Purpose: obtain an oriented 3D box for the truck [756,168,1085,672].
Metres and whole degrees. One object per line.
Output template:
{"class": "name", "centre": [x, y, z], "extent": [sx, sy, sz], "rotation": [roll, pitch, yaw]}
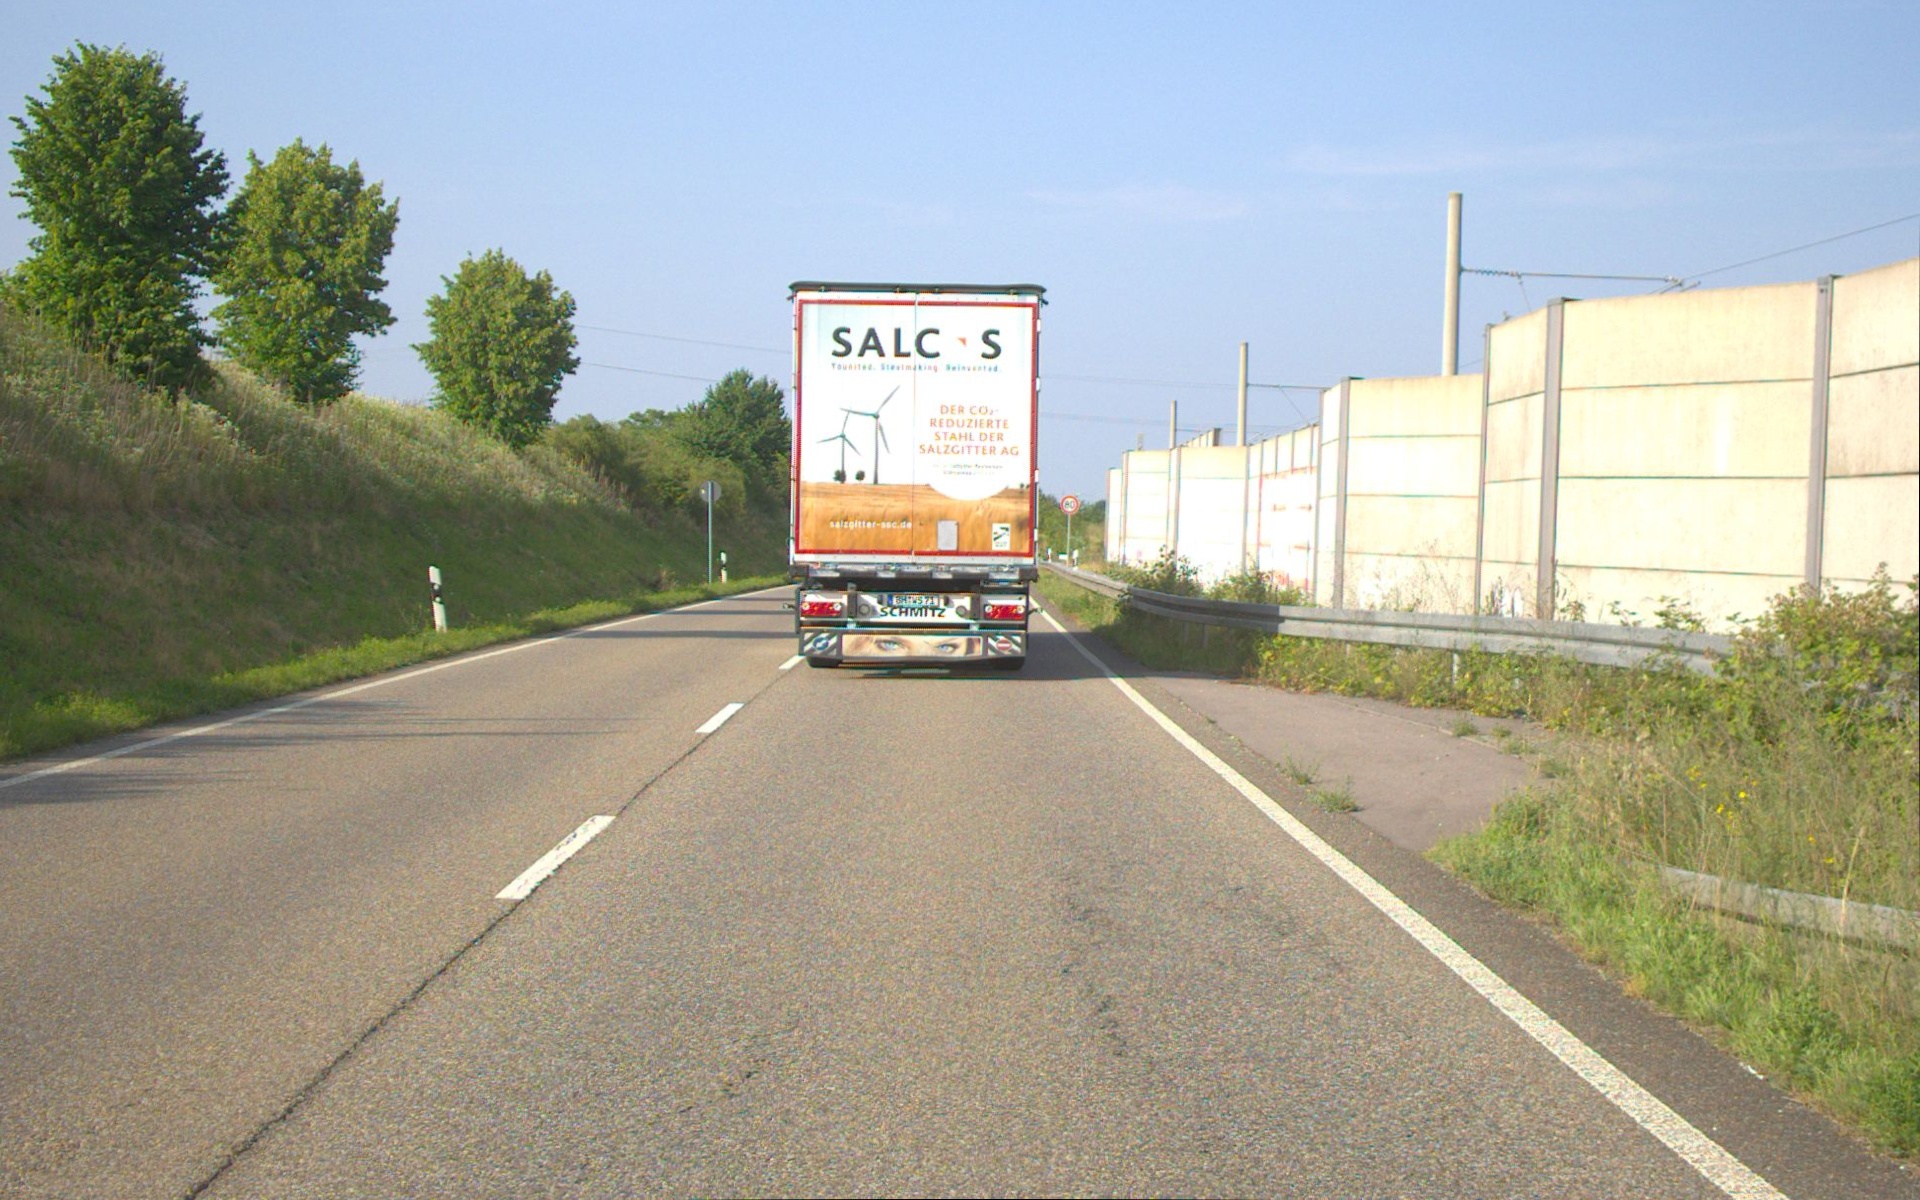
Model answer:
{"class": "truck", "centre": [-0.492, -1.963, 40.839], "extent": [3.290, 5.072, 12.039], "rotation": [0, 1, -1]}
